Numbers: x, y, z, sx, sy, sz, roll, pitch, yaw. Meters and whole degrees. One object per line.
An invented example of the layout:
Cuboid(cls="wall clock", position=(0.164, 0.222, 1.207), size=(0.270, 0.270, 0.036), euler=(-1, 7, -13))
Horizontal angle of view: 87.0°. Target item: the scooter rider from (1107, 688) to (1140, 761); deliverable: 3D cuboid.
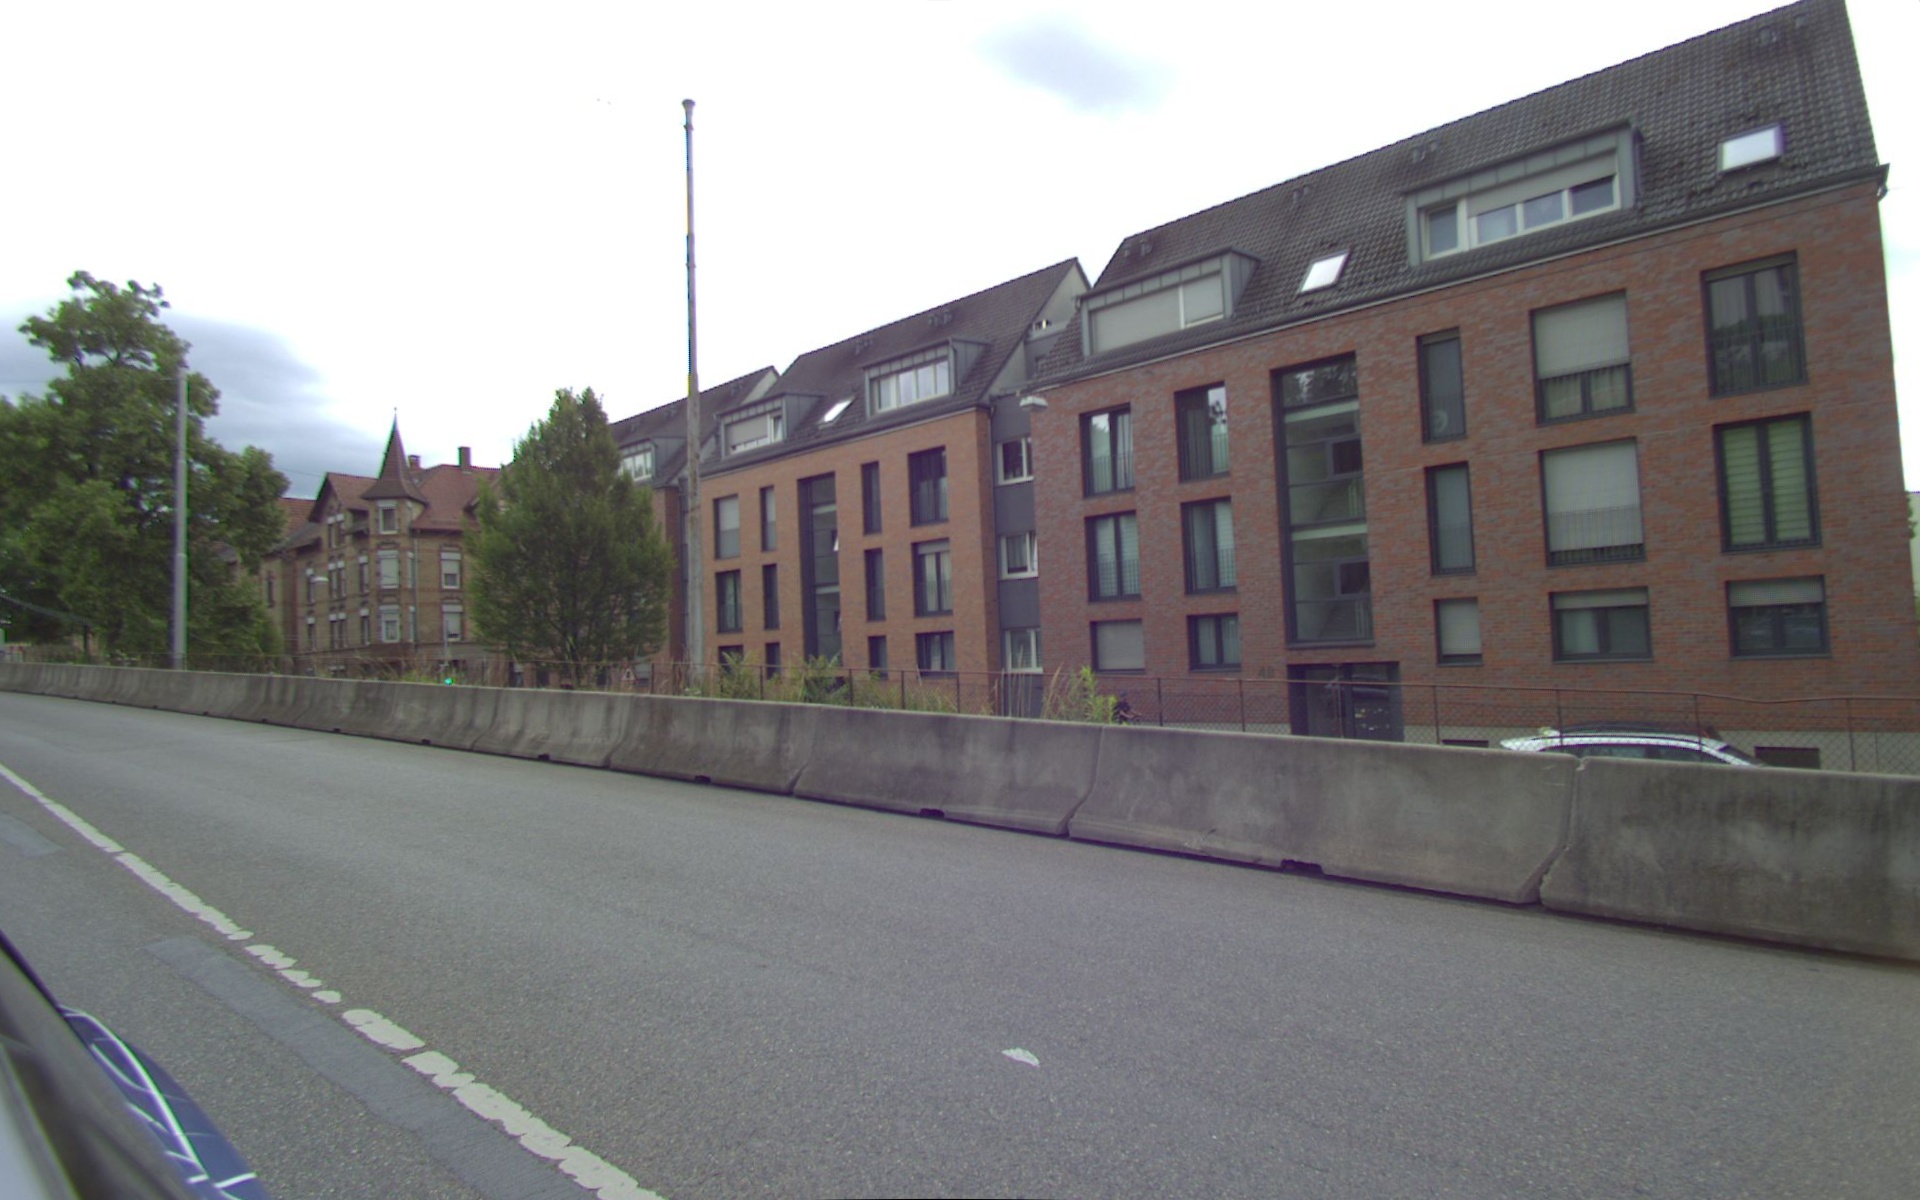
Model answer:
Cuboid(cls="scooter rider", position=(4.008, 3.041, 24.822), size=(0.577, 1.718, 0.482), euler=(-5, -4, 41))

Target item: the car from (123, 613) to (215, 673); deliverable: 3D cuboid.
Cuboid(cls="car", position=(-37.314, 1.944, 47.673), size=(5.735, 2.601, 2.531), euler=(-1, 0, 43))

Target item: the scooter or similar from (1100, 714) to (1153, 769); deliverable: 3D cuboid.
Cuboid(cls="scooter or similar", position=(4.069, 3.449, 24.770), size=(1.226, 1.251, 0.374), euler=(-3, -2, 42))

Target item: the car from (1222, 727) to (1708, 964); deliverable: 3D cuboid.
Cuboid(cls="car", position=(4.779, 2.184, 9.904), size=(3.995, 1.525, 1.519), euler=(-2, -1, 39))

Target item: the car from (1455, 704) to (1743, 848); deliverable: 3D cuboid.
Cuboid(cls="car", position=(10.425, 2.760, 16.652), size=(3.765, 1.815, 1.696), euler=(-2, -2, 41))

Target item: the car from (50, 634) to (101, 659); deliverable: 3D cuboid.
Cuboid(cls="car", position=(-59.519, 3.100, 68.076), size=(3.997, 1.564, 1.973), euler=(-2, -1, 40))

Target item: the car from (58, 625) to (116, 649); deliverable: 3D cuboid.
Cuboid(cls="car", position=(-51.430, 2.194, 59.593), size=(3.997, 1.364, 1.973), euler=(-2, -3, 40))

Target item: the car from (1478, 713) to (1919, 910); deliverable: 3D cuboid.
Cuboid(cls="car", position=(8.429, 2.199, 11.268), size=(4.421, 1.525, 1.809), euler=(-2, -1, 41))
